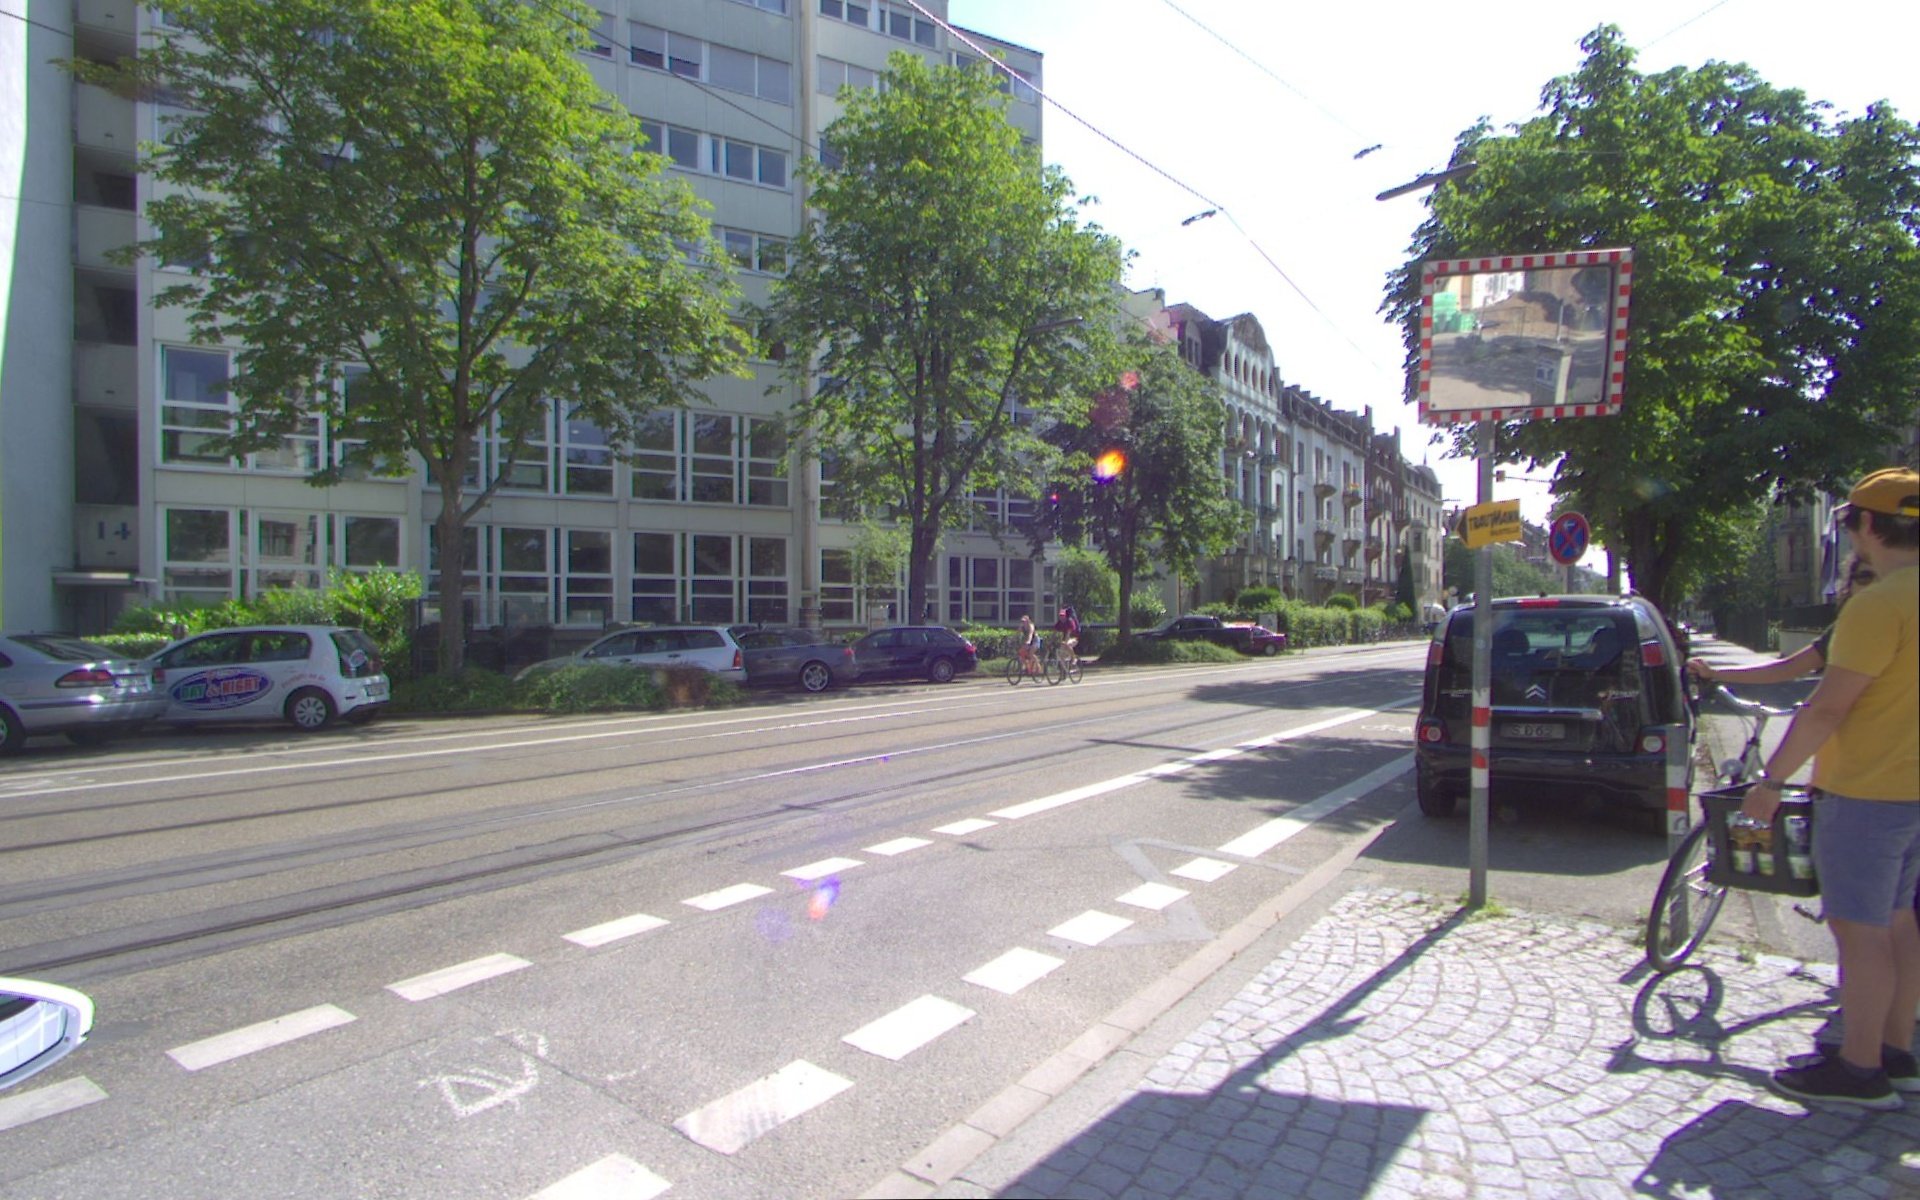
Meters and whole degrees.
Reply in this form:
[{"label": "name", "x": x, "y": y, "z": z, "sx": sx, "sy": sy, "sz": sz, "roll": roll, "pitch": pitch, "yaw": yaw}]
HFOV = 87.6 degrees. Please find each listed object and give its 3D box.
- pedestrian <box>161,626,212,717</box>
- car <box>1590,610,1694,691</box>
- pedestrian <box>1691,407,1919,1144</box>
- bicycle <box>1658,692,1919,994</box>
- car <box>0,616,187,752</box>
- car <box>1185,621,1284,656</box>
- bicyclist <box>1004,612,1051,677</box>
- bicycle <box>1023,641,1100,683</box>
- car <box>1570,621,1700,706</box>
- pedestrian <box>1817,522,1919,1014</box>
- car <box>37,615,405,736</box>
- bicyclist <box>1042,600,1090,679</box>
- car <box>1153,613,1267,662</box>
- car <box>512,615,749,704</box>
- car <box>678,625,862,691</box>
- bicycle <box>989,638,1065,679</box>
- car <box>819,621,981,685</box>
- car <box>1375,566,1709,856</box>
[{"label": "pedestrian", "x": -12.838, "y": 1.167, "z": 16.623, "sx": 0.420, "sy": 1.479, "sz": 0.616, "roll": -1, "pitch": -1, "yaw": 44}, {"label": "car", "x": 15.883, "y": 1.136, "z": 23.357, "sx": 1.832, "sy": 1.701, "sz": 3.977, "roll": -2, "pitch": -2, "yaw": 34}, {"label": "pedestrian", "x": 2.678, "y": 0.457, "z": 2.924, "sx": 0.843, "sy": 1.888, "sz": 0.824, "roll": -1, "pitch": -1, "yaw": 37}, {"label": "bicycle", "x": 3.556, "y": 0.890, "z": 3.750, "sx": 1.486, "sy": 1.054, "sz": 0.363, "roll": -1, "pitch": -1, "yaw": 18}, {"label": "car", "x": -11.752, "y": 0.962, "z": 11.805, "sx": 3.870, "sy": 1.505, "sz": 1.613, "roll": 0, "pitch": -1, "yaw": -8}, {"label": "car", "x": 12.664, "y": 1.756, "z": 46.254, "sx": 3.924, "sy": 1.527, "sz": 2.000, "roll": 0, "pitch": -2, "yaw": -10}, {"label": "bicyclist", "x": 1.658, "y": 1.082, "z": 24.431, "sx": 0.795, "sy": 1.562, "sz": 0.858, "roll": -1, "pitch": -1, "yaw": 39}, {"label": "bicycle", "x": 2.430, "y": 1.443, "z": 23.654, "sx": 0.672, "sy": 0.928, "sz": 2.304, "roll": -2, "pitch": -2, "yaw": 38}, {"label": "car", "x": 12.725, "y": 1.131, "z": 18.913, "sx": 1.832, "sy": 1.429, "sz": 3.977, "roll": -2, "pitch": -2, "yaw": 34}, {"label": "pedestrian", "x": 3.390, "y": 0.563, "z": 3.509, "sx": 0.446, "sy": 1.642, "sz": 0.421, "roll": -1, "pitch": -1, "yaw": 18}, {"label": "car", "x": -10.302, "y": 1.022, "z": 14.227, "sx": 3.870, "sy": 1.505, "sz": 1.613, "roll": -1, "pitch": -1, "yaw": -8}, {"label": "bicyclist", "x": 2.520, "y": 0.929, "z": 23.754, "sx": 0.795, "sy": 1.824, "sz": 0.858, "roll": -1, "pitch": -1, "yaw": 39}, {"label": "car", "x": 9.935, "y": 1.486, "z": 39.856, "sx": 3.929, "sy": 1.883, "sz": 1.997, "roll": 0, "pitch": -2, "yaw": -17}, {"label": "car", "x": -6.332, "y": 1.139, "z": 19.691, "sx": 4.264, "sy": 1.624, "sz": 1.558, "roll": 0, "pitch": -2, "yaw": -12}, {"label": "car", "x": -4.162, "y": 1.254, "z": 22.232, "sx": 3.871, "sy": 1.374, "sz": 1.558, "roll": 0, "pitch": -1, "yaw": -10}, {"label": "bicycle", "x": 1.664, "y": 1.421, "z": 24.554, "sx": 0.672, "sy": 0.929, "sz": 2.304, "roll": -1, "pitch": -2, "yaw": 38}, {"label": "car", "x": -1.530, "y": 1.301, "z": 24.920, "sx": 3.871, "sy": 1.505, "sz": 1.558, "roll": 0, "pitch": -1, "yaw": -10}, {"label": "car", "x": 4.843, "y": 0.719, "z": 8.049, "sx": 1.834, "sy": 1.705, "sz": 3.973, "roll": -2, "pitch": -2, "yaw": 37}]
